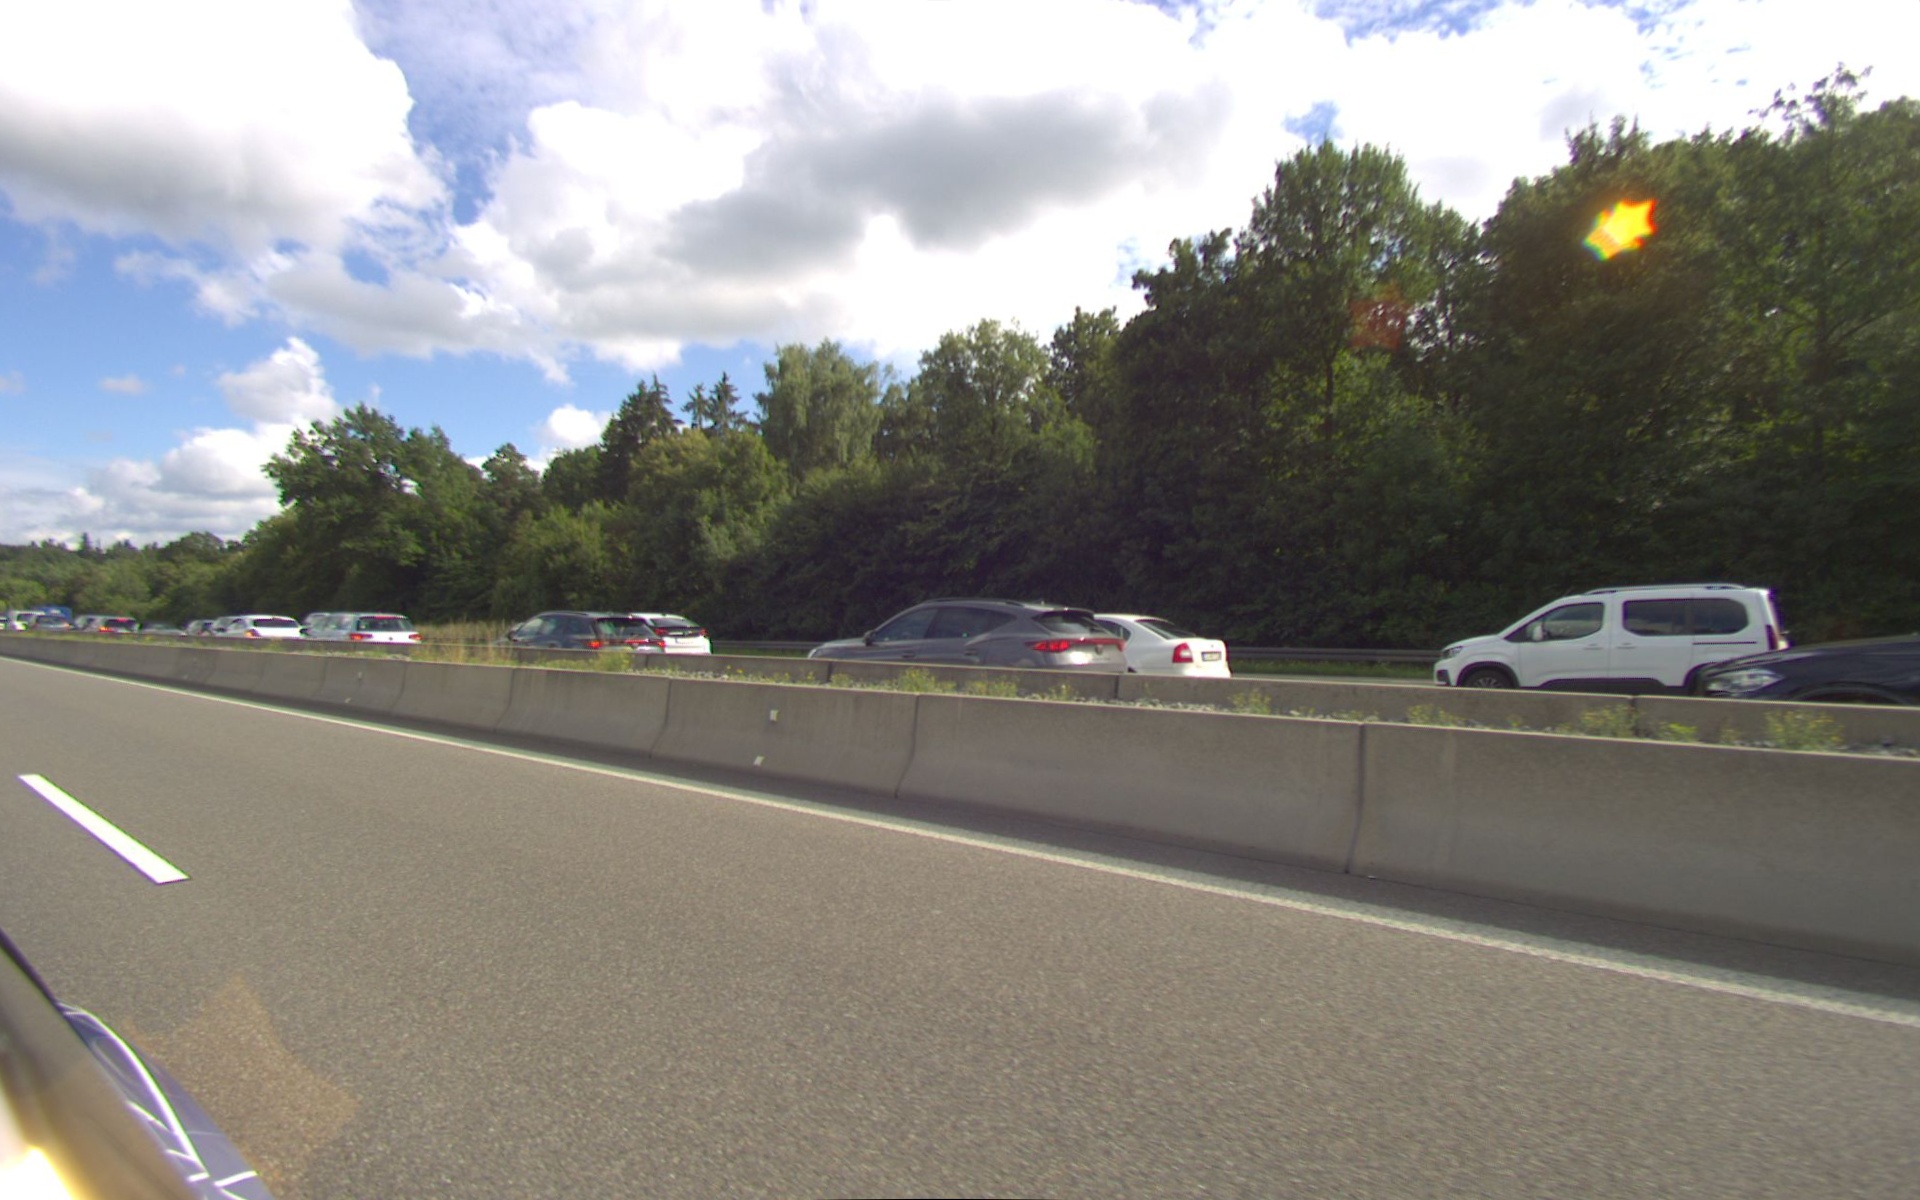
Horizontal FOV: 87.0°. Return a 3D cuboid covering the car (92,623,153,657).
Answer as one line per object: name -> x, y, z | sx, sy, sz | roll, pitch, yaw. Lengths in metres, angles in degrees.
car -> -40.354, 1.918, 48.753 | 3.998, 1.564, 1.621 | -1, -2, 41

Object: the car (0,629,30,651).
car -> -69.869, 2.933, 74.229 | 3.998, 1.564, 1.973 | -1, -2, 41

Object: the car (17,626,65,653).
car -> -54.862, 2.317, 60.392 | 3.998, 1.564, 1.676 | -1, -2, 41

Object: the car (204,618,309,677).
car -> -20.920, 1.366, 30.045 | 3.998, 1.630, 1.643 | -1, -2, 41

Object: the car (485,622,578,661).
car -> -18.805, 1.785, 44.372 | 4.548, 1.630, 1.972 | -2, -3, 41

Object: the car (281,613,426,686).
car -> -14.897, 1.174, 24.767 | 4.548, 1.630, 1.724 | -1, -2, 41

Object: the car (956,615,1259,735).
car -> 2.178, 1.084, 15.871 | 4.548, 1.630, 1.650 | -2, -3, 41

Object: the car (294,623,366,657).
car -> -31.214, 1.956, 50.092 | 3.998, 1.630, 1.963 | -1, -2, 41

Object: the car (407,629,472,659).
car -> -27.983, 2.349, 54.336 | 3.998, 1.564, 1.757 | -1, -2, 41

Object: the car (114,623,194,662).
car -> -34.074, 1.762, 42.749 | 3.998, 1.564, 1.973 | -1, -2, 41

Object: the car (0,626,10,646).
car -> -79.315, 2.949, 82.769 | 3.998, 1.564, 1.973 | -1, -2, 41

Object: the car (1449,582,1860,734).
car -> 9.595, 0.754, 14.258 | 4.548, 1.813, 1.827 | -1, -2, 41

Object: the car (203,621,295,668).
car -> -25.382, 1.555, 36.094 | 3.998, 1.564, 1.776 | -1, -2, 41

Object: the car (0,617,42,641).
car -> -62.297, 1.942, 67.118 | 3.998, 1.564, 1.613 | -2, -3, 41

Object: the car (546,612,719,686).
car -> -8.021, 1.146, 24.583 | 4.548, 1.630, 1.972 | -1, -2, 41

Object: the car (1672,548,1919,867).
car -> 7.703, 0.660, 6.082 | 5.393, 1.962, 2.148 | -1, -2, 41

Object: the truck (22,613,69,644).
truck -> -76.888, 2.394, 85.050 | 5.237, 2.477, 2.338 | -1, -2, 41

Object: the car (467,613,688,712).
car -> -7.239, 1.104, 18.931 | 4.548, 1.630, 1.972 | -1, -2, 41

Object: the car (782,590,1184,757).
car -> 0.142, 0.786, 12.198 | 4.548, 1.630, 2.148 | -1, -2, 41

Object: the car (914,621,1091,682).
car -> 1.052, 1.308, 26.610 | 4.548, 1.470, 1.827 | -2, -3, 41

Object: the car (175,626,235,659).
car -> -37.649, 2.103, 50.438 | 3.998, 1.564, 1.614 | -1, -2, 41
